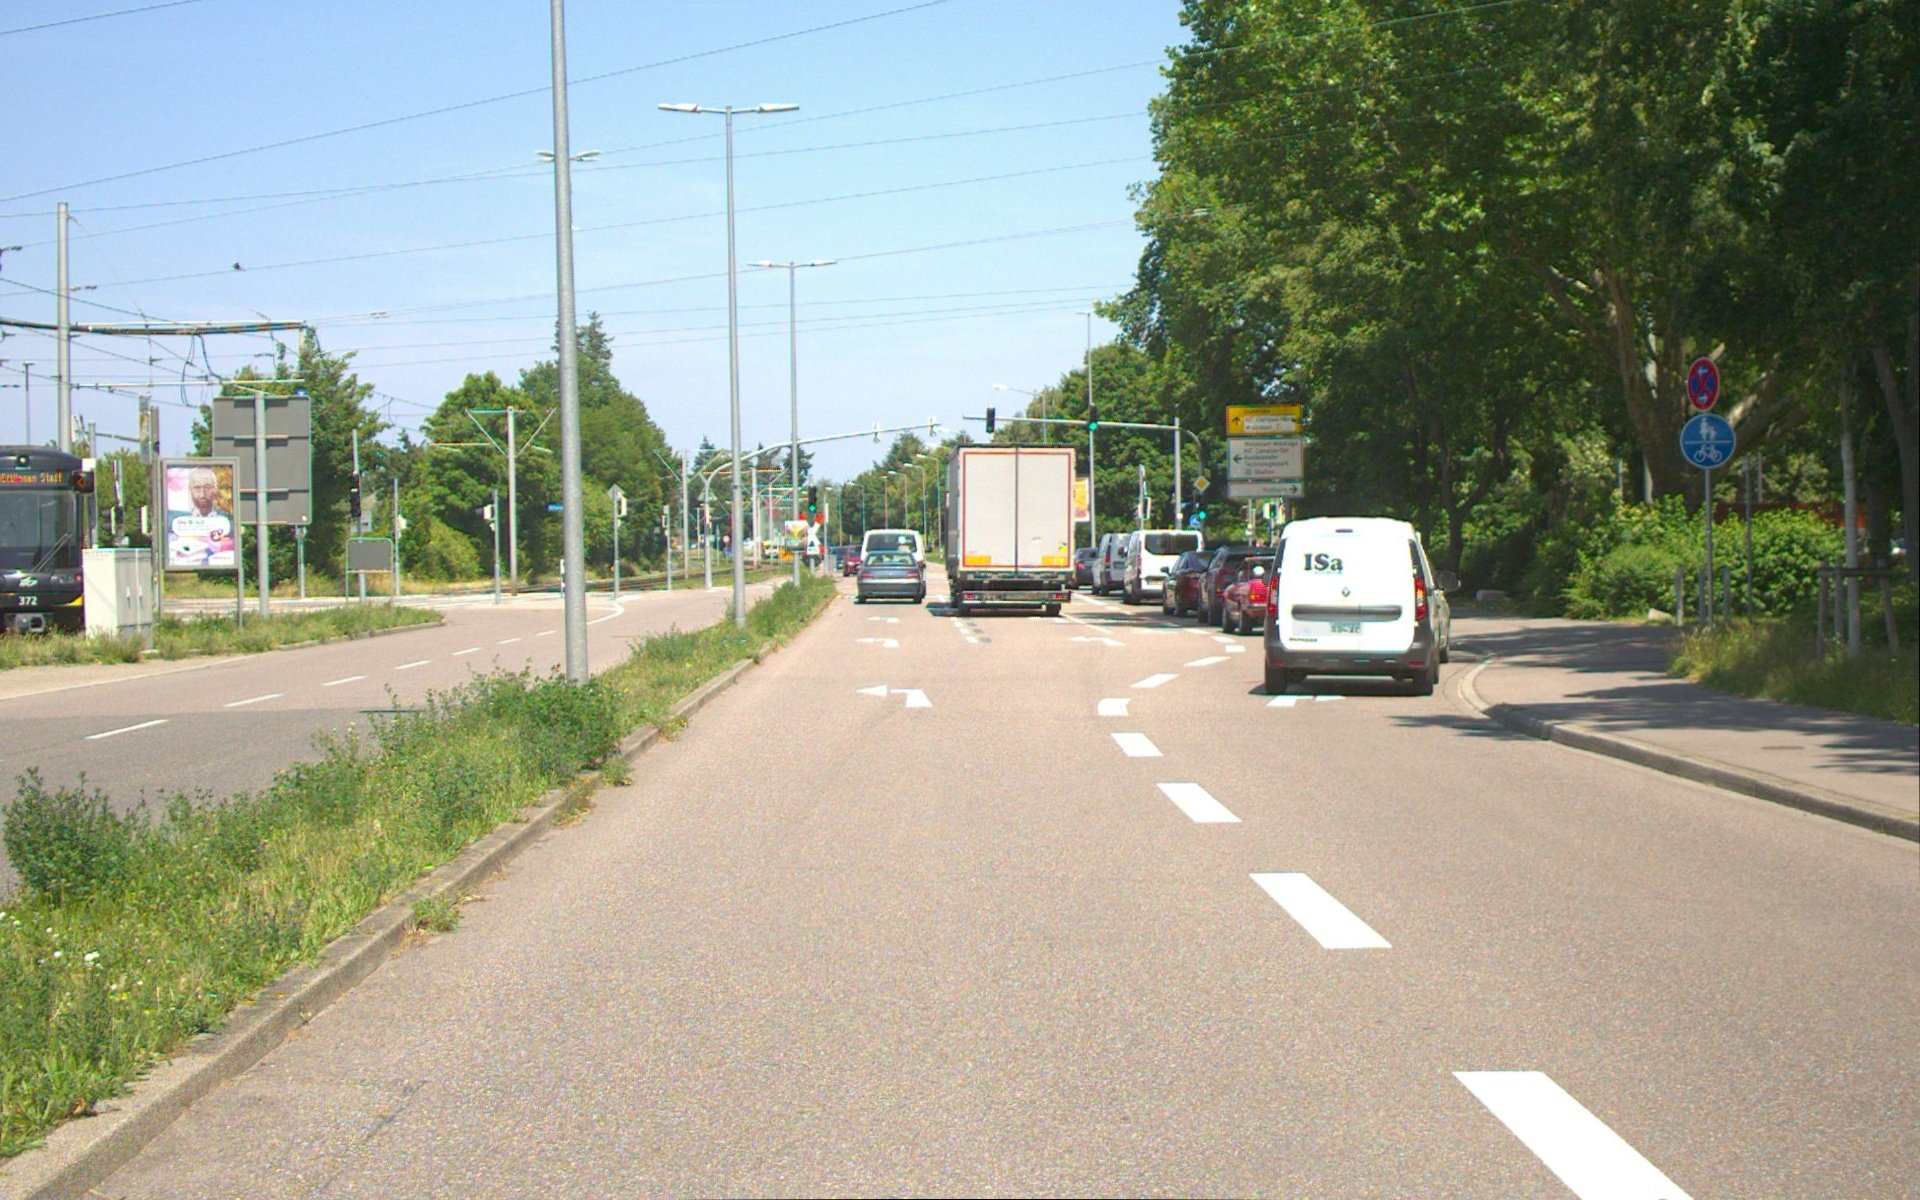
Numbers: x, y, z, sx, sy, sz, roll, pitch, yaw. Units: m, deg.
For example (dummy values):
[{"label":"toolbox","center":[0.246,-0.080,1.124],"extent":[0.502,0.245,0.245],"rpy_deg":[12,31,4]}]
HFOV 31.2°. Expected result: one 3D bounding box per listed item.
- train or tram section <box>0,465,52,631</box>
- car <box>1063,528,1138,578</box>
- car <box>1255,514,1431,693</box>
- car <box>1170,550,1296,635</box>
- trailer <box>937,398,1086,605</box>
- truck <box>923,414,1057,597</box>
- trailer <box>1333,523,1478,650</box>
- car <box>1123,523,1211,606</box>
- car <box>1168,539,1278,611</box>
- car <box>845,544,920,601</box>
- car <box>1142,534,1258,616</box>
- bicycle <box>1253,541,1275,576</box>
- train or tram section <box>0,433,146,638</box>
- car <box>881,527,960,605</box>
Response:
[{"label":"train or tram section","center":[-23.759,-1.188,74.729],"extent":[3.038,3.454,10.218],"rpy_deg":[0,2,-45]},{"label":"car","center":[4.197,-1.430,103.378],"extent":[1.993,1.432,4.252],"rpy_deg":[0,2,-1]},{"label":"car","center":[4.069,-0.010,36.236],"extent":[1.710,1.741,4.426],"rpy_deg":[1,1,7]},{"label":"car","center":[4.695,-0.155,59.634],"extent":[1.654,1.392,4.268],"rpy_deg":[1,1,-2]},{"label":"trailer","center":[1.079,-2.194,78.090],"extent":[2.827,4.406,8.750],"rpy_deg":[1,1,-3]},{"label":"truck","center":[0.674,-2.398,86.590],"extent":[2.827,4.329,8.285],"rpy_deg":[1,2,-3]},{"label":"trailer","center":[6.028,-0.204,46.767],"extent":[1.468,1.663,2.856],"rpy_deg":[1,1,-3]},{"label":"car","center":[5.415,-0.961,90.196],"extent":[1.890,2.114,3.887],"rpy_deg":[1,1,-2]},{"label":"car","center":[5.784,-0.578,76.112],"extent":[1.993,1.498,4.503],"rpy_deg":[-1,2,-1]},{"label":"car","center":[-2.065,-0.711,91.195],"extent":[1.892,1.367,4.430],"rpy_deg":[2,-1,-2]},{"label":"car","center":[4.722,-0.521,68.176],"extent":[1.858,1.544,3.887],"rpy_deg":[1,1,-2]},{"label":"bicycle","center":[11.575,-1.589,130.919],"extent":[0.644,1.300,1.625],"rpy_deg":[-3,0,10]},{"label":"train or tram section","center":[-18.135,-1.240,64.369],"extent":[3.036,3.454,13.295],"rpy_deg":[0,1,-25]},{"label":"car","center":[-1.167,-1.003,98.727],"extent":[1.993,2.103,4.749],"rpy_deg":[0,2,-4]}]
